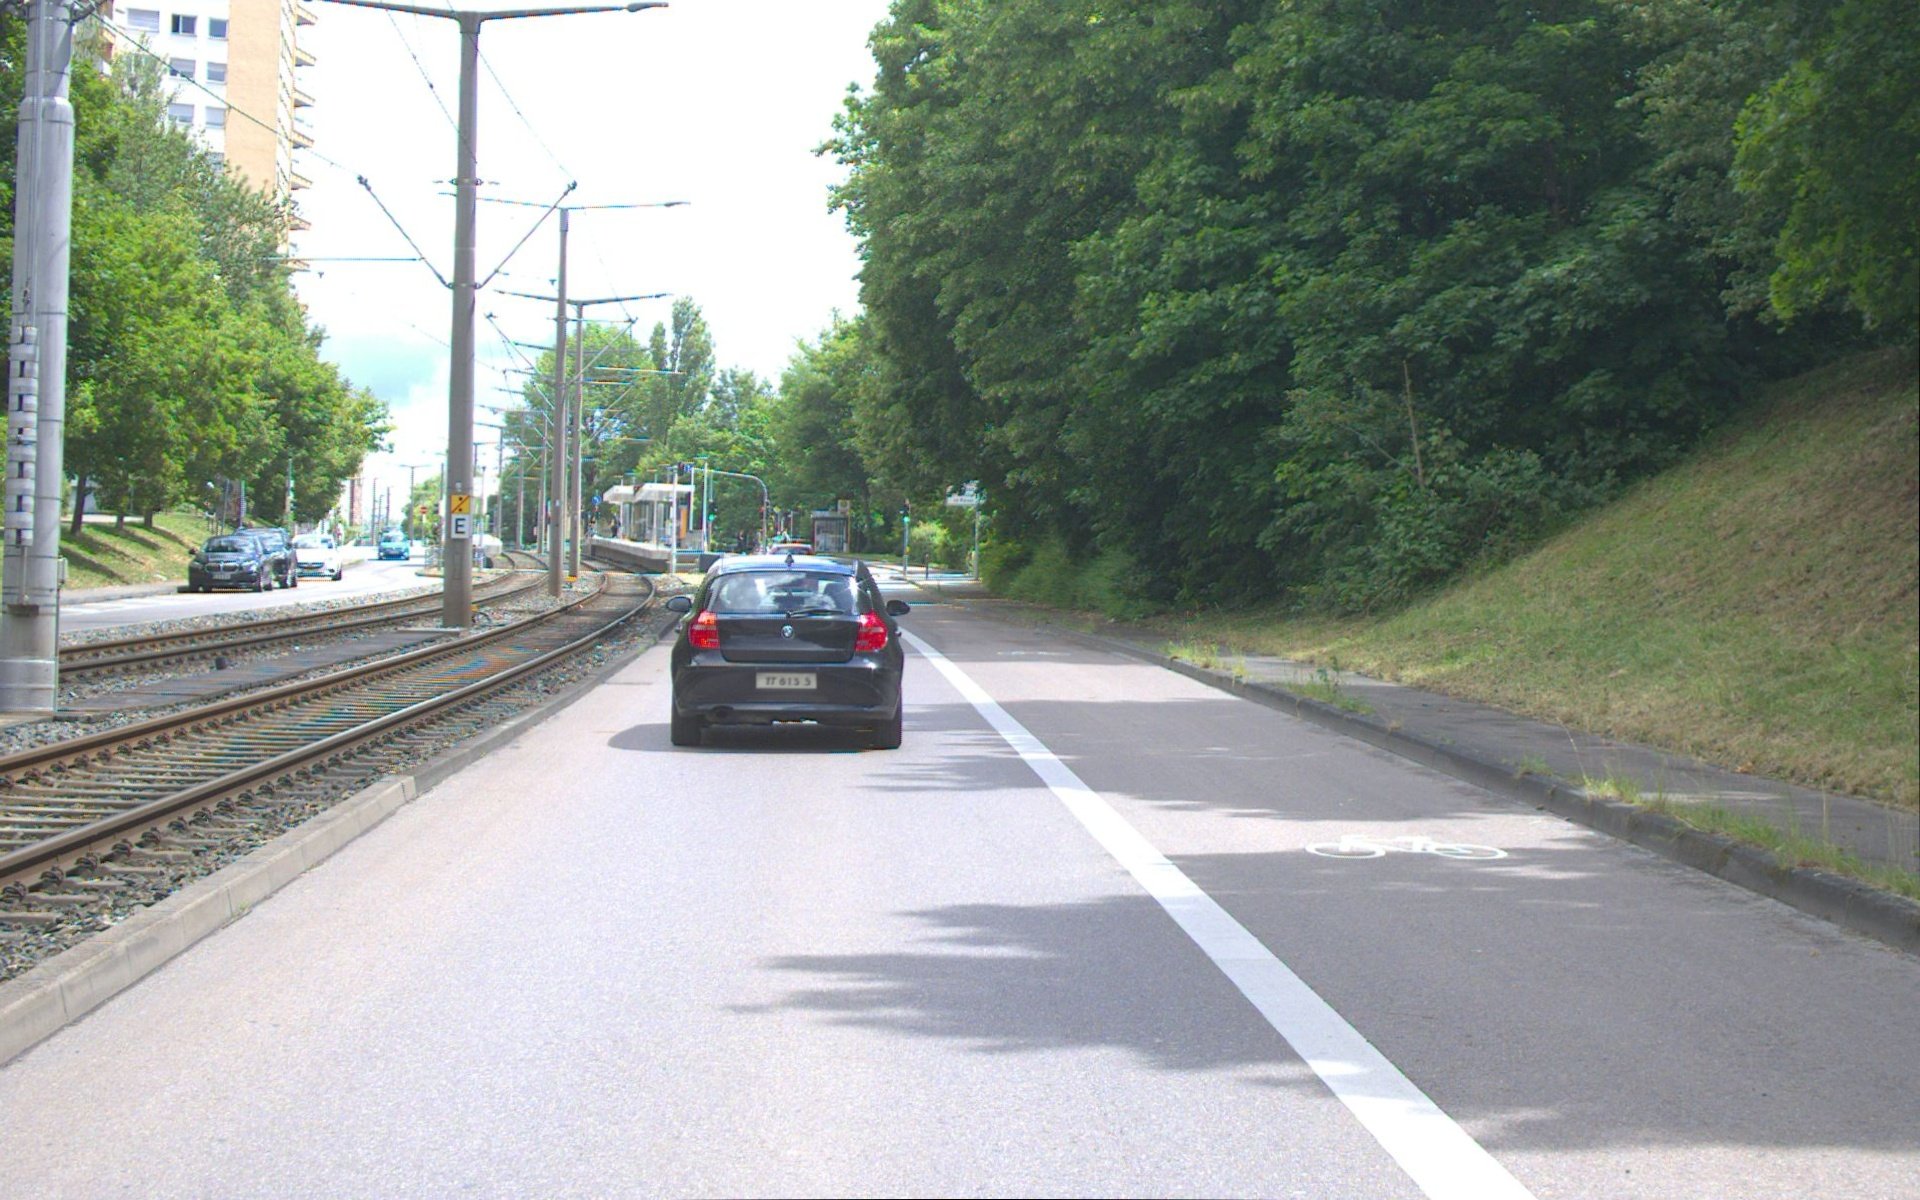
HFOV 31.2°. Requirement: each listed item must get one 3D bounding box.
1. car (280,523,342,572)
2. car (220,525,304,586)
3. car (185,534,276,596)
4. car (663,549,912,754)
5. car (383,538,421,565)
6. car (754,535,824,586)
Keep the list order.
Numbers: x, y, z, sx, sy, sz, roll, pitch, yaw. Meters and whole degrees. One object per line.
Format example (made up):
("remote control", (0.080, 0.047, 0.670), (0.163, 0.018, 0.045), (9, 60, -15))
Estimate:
("car", (-20.823, -1.692, 110.377), (1.781, 1.527, 4.246), (0, 1, -8))
("car", (-18.940, -1.195, 93.366), (1.774, 1.624, 4.383), (0, 0, -5))
("car", (-18.370, -0.898, 86.716), (1.774, 1.493, 3.998), (1, 1, -5))
("car", (-1.398, 0.341, 26.546), (1.781, 1.454, 3.922), (0, 1, -5))
("car", (-30.345, -2.633, 187.012), (1.715, 1.437, 3.944), (1, 1, -14))
("car", (-5.040, -1.167, 100.796), (1.781, 1.454, 3.922), (1, 1, -6))
